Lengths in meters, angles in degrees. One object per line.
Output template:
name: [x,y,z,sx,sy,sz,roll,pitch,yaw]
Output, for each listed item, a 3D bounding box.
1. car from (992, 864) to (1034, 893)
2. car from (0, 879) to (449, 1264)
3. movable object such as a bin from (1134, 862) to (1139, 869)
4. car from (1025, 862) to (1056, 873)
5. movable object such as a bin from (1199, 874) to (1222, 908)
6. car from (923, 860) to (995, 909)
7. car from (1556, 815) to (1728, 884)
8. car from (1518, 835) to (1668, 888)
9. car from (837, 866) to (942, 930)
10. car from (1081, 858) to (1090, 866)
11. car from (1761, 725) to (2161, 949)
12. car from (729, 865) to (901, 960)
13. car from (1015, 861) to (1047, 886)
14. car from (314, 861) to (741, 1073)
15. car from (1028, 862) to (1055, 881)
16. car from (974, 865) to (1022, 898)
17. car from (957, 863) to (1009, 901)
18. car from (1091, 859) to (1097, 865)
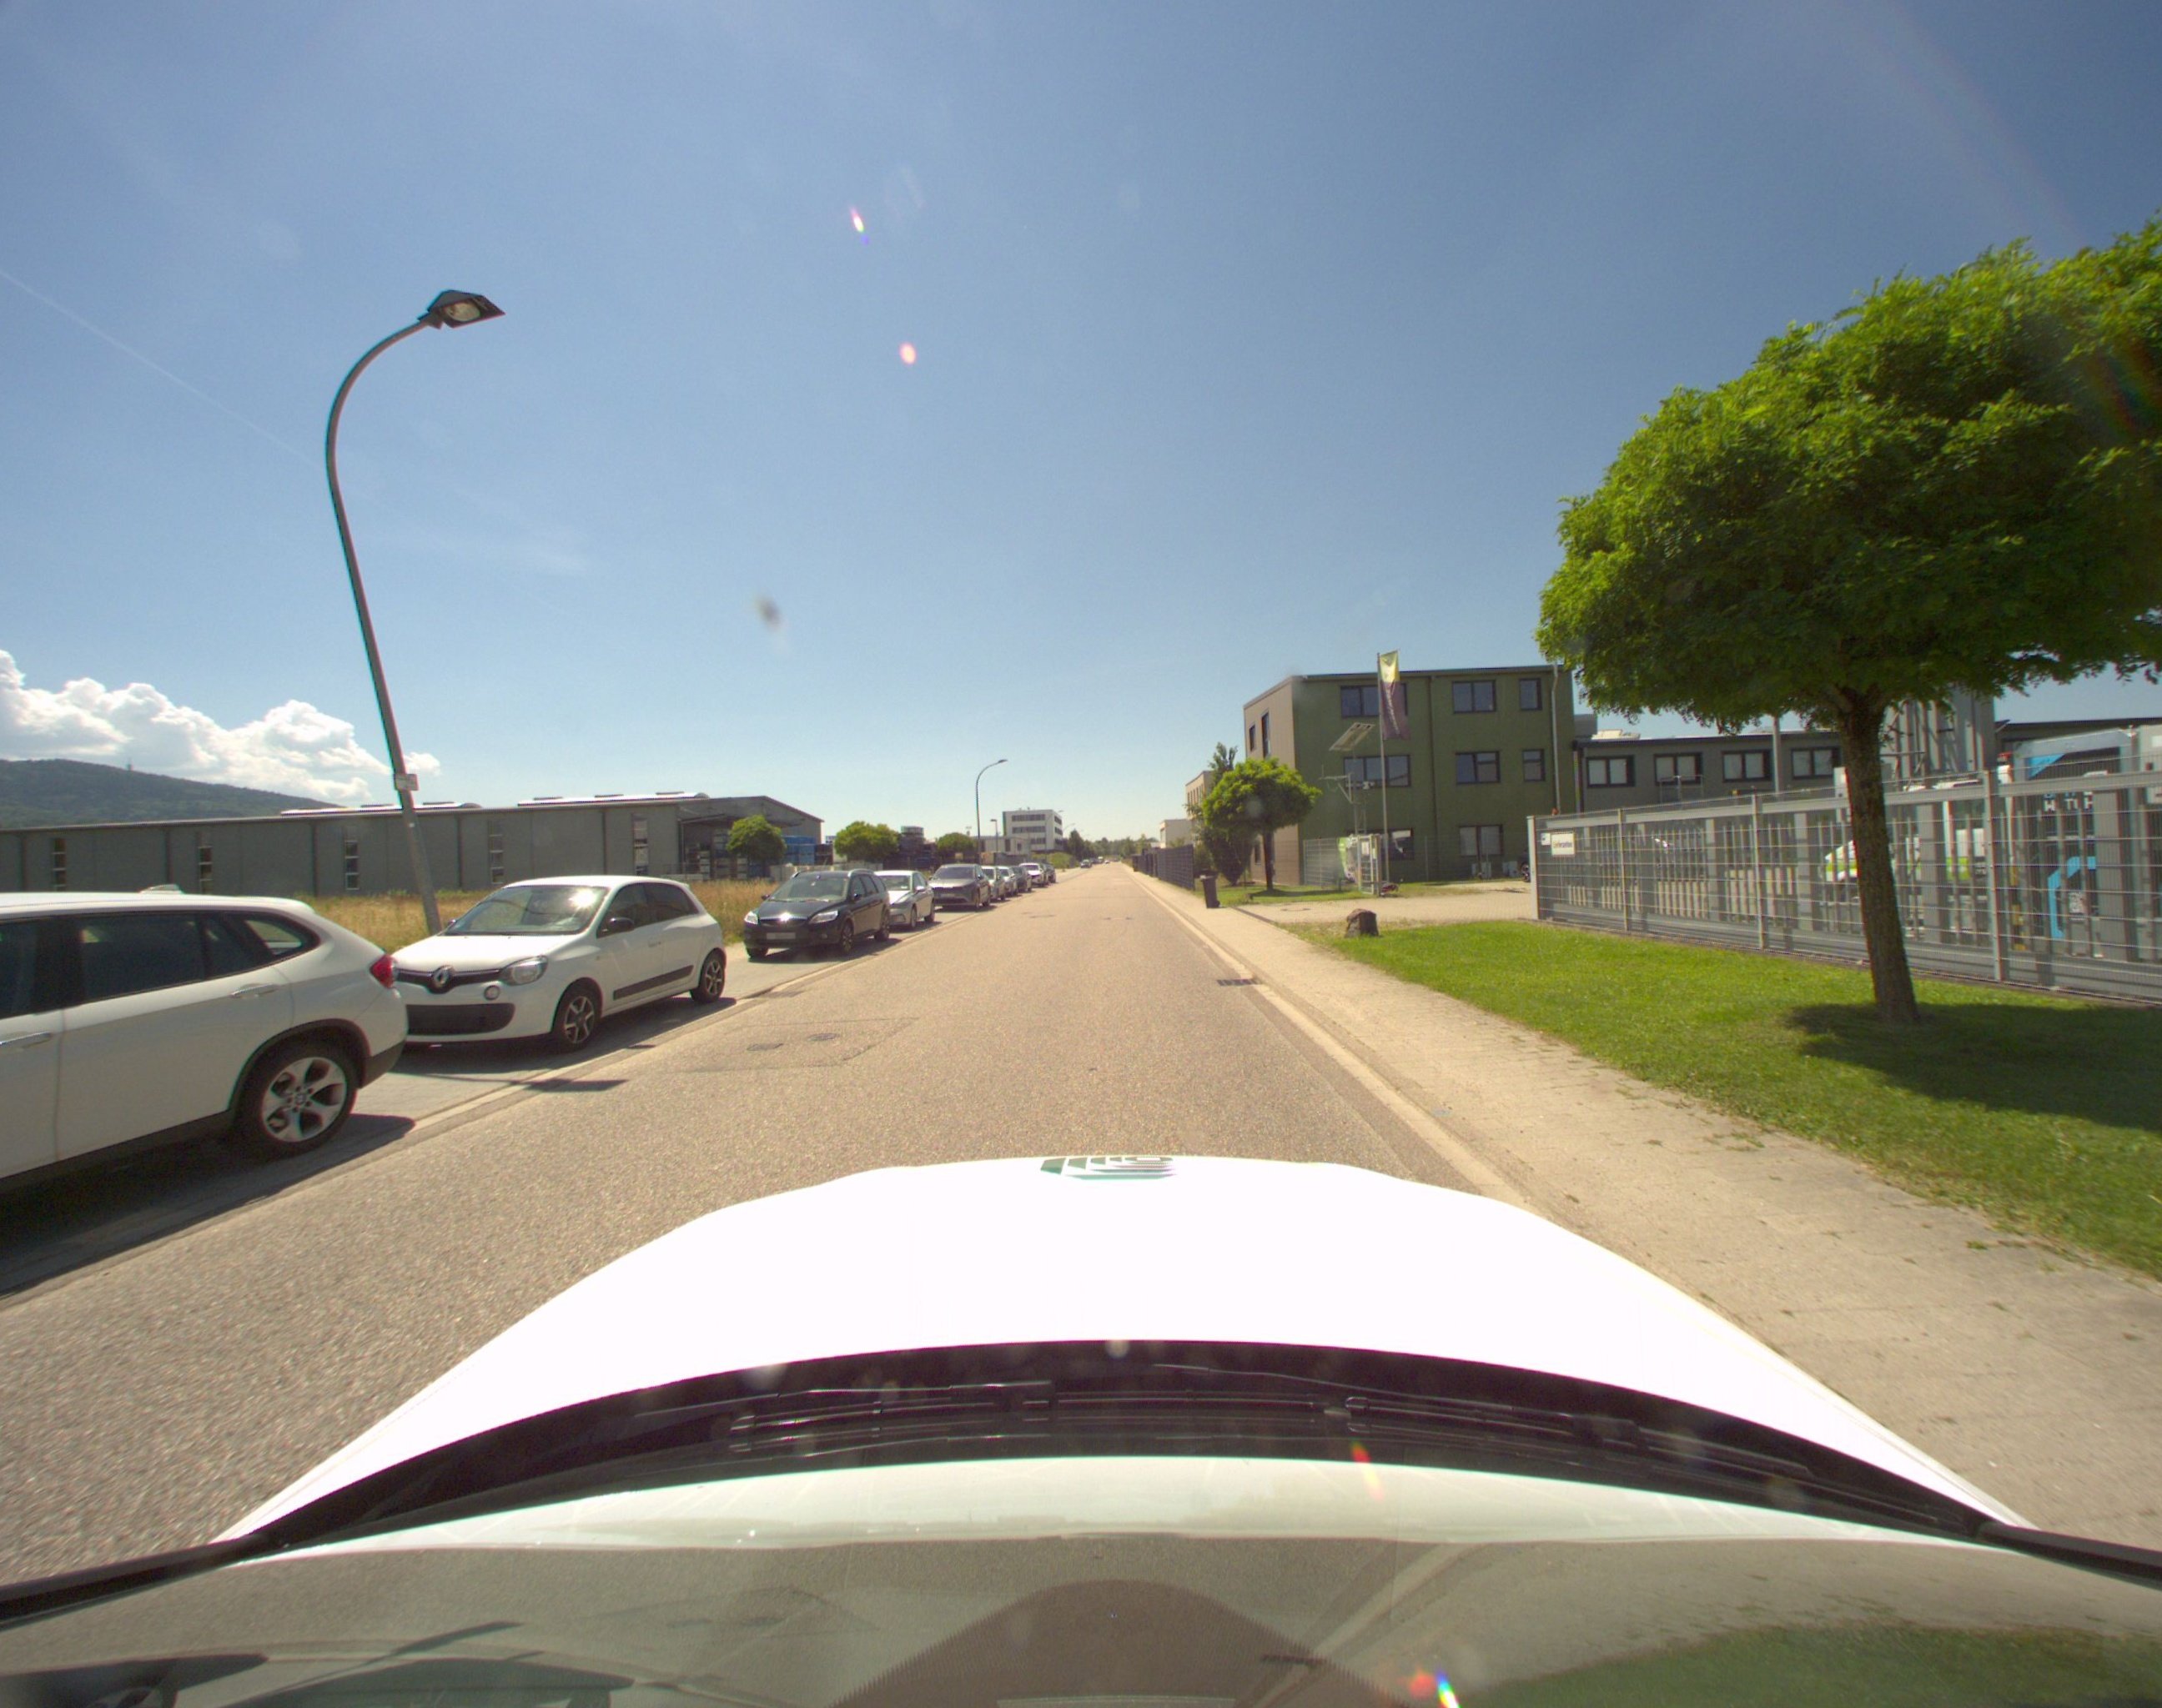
car: [-3.775,1.338,45.769,1.850,1.481,4.231,-1,0,2]
car: [-5.415,0.961,3.479,1.779,1.542,4.369,-2,0,4]
movable object such as a bin: [7.708,1.582,112.326,0.549,0.928,0.523,-7,0,6]
car: [-5.925,1.927,119.331,4.261,1.364,1.899,-3,0,2]
movable object such as a bin: [3.806,1.071,23.867,0.548,0.928,0.523,-6,-1,12]
car: [-4.301,1.031,29.280,1.784,1.607,4.464,-1,0,1]
car: [18.466,-0.162,27.253,1.986,1.996,5.658,-2,0,2]
car: [16.087,0.203,25.927,1.986,1.438,4.615,-2,0,2]
car: [-4.879,1.072,21.319,1.758,1.451,4.199,-1,0,-1]
car: [0.870,1.620,160.409,1.461,1.489,3.209,-2,0,3]
car: [13.116,-0.250,10.945,2.121,2.494,7.029,-4,0,2]
car: [-4.921,1.009,15.772,1.756,1.517,4.382,-1,0,2]
car: [-3.312,1.278,54.609,1.763,1.592,4.360,-1,-1,1]
car: [-5.289,0.931,8.505,1.780,1.656,3.769,-1,0,1]
car: [-3.132,1.376,65.642,1.762,1.461,4.335,-1,-1,2]
car: [-4.064,1.346,40.670,1.768,1.481,4.817,-1,0,1]
car: [-4.167,1.168,35.242,1.687,1.525,3.736,-1,0,1]
car: [3.424,2.041,215.365,1.638,1.489,3.209,-2,0,2]
